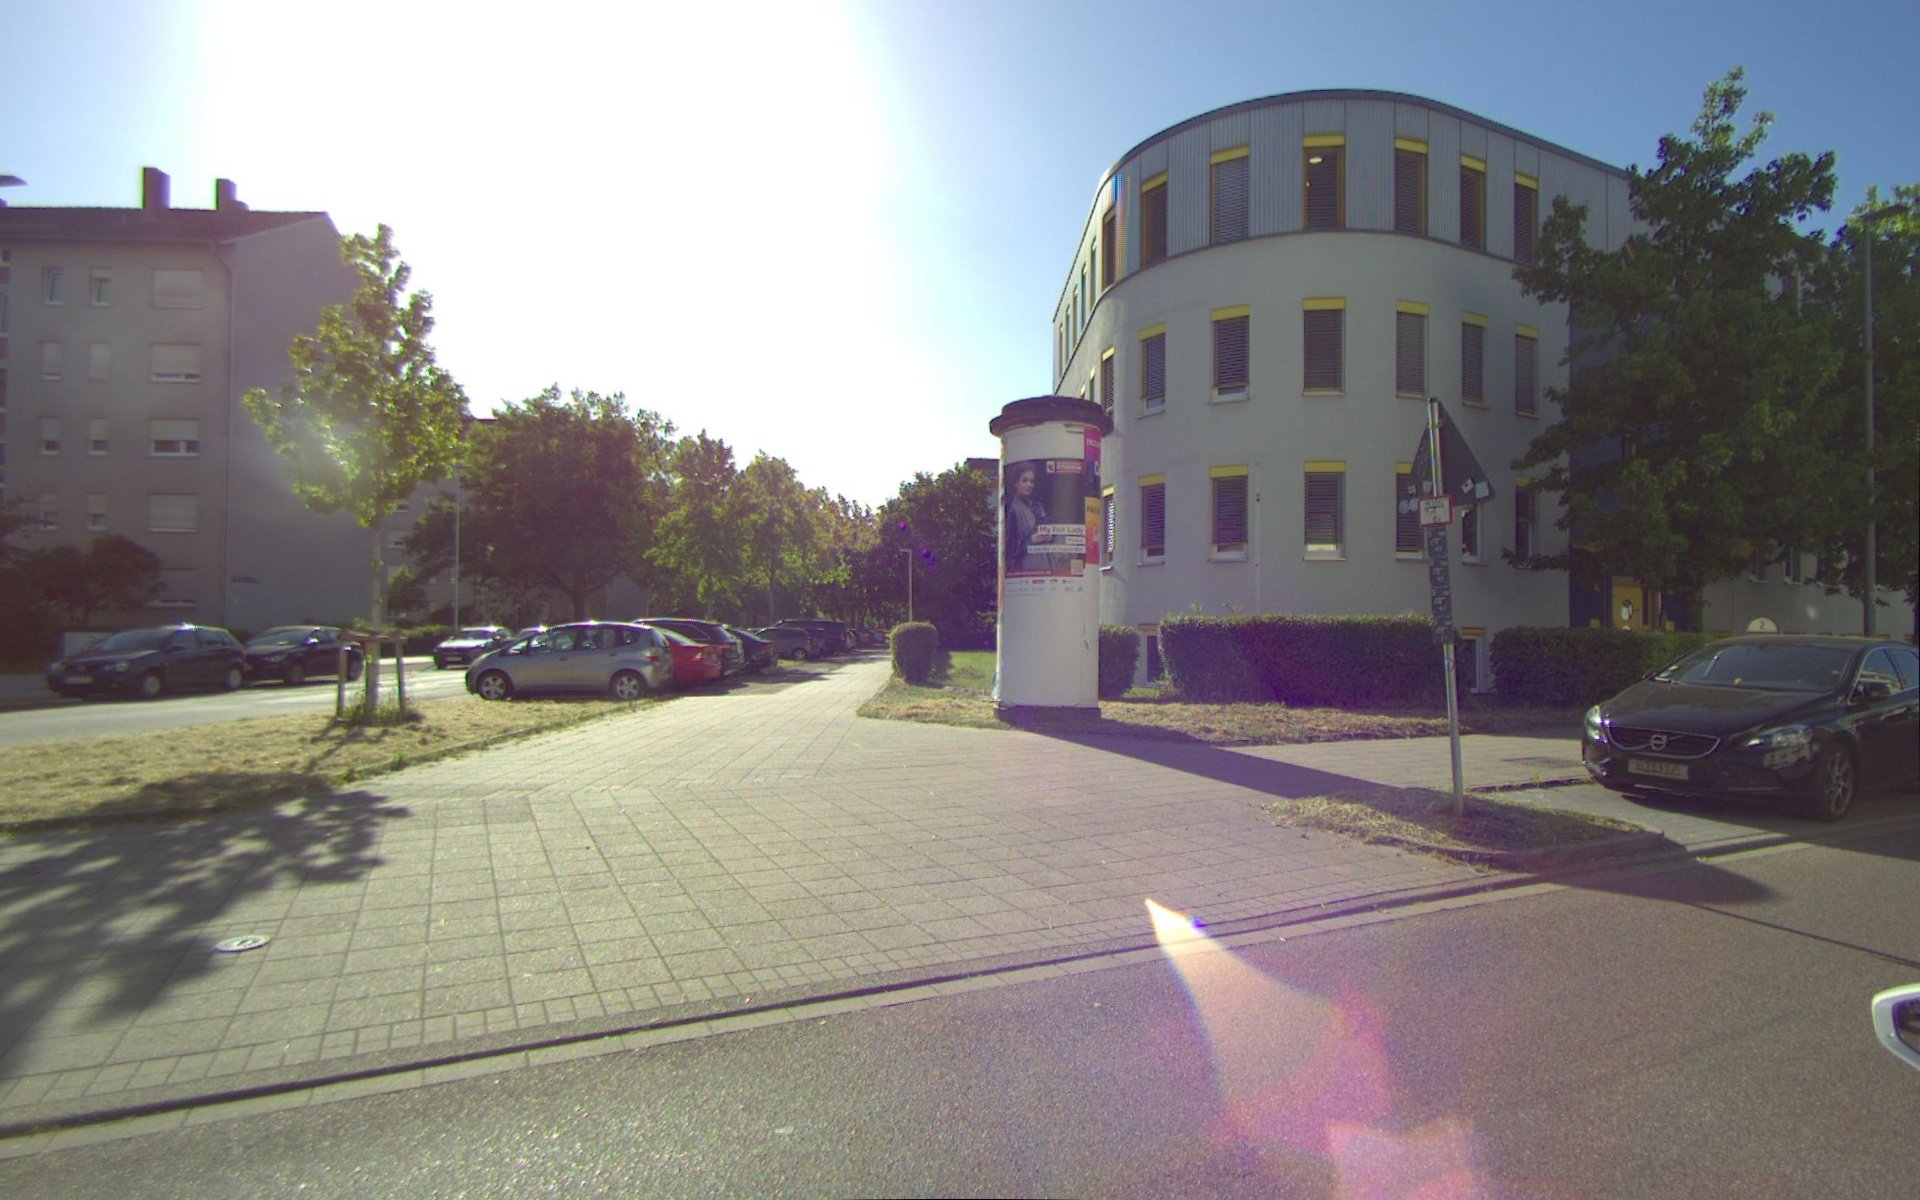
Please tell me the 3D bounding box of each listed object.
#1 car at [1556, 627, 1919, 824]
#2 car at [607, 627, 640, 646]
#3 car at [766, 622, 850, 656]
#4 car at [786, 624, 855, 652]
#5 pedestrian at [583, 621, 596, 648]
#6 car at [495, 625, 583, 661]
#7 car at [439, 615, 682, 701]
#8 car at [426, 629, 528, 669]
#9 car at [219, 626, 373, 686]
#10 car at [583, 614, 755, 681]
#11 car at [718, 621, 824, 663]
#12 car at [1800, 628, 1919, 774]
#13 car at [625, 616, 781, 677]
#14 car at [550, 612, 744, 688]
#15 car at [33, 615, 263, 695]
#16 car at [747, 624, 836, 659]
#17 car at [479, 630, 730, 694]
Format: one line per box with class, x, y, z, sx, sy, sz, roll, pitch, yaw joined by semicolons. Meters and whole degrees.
car;7.598;1.003;9.249;4.172;1.429;1.781;2;-1;-29
car;-22.465;2.441;67.099;1.253;1.241;2.663;0;-1;0
car;-8.018;2.048;53.238;4.210;1.722;1.999;0;-2;-4
car;-8.692;2.392;62.832;4.113;1.722;1.950;0;-2;-4
pedestrian;-23.170;2.176;62.847;0.624;1.686;0.699;1;-1;-7
car;-17.414;1.793;41.769;1.961;1.416;4.001;1;-2;-1
car;-7.682;1.116;19.628;4.024;1.511;1.728;2;-2;-5
car;-17.189;1.737;35.970;1.603;1.250;4.193;3;-2;-1
car;-16.868;1.373;25.759;1.383;1.394;4.000;1;-1;-2
car;-7.906;1.295;27.621;4.210;1.722;1.999;0;-2;-4
car;-8.041;1.777;43.031;4.210;1.722;1.999;0;-2;-4
car;11.787;1.131;11.519;4.327;1.498;1.900;2;-2;-29
car;-7.614;1.380;30.071;4.210;1.722;1.999;0;-2;-4
car;-7.651;1.217;24.894;4.210;1.788;1.999;0;-2;-4
car;-16.743;1.113;21.008;1.640;1.438;3.999;3;-2;-3
car;-8.410;2.074;50.507;4.210;1.722;1.999;0;-2;-4
car;-7.526;1.320;21.668;4.793;1.291;1.727;0;-2;-6
